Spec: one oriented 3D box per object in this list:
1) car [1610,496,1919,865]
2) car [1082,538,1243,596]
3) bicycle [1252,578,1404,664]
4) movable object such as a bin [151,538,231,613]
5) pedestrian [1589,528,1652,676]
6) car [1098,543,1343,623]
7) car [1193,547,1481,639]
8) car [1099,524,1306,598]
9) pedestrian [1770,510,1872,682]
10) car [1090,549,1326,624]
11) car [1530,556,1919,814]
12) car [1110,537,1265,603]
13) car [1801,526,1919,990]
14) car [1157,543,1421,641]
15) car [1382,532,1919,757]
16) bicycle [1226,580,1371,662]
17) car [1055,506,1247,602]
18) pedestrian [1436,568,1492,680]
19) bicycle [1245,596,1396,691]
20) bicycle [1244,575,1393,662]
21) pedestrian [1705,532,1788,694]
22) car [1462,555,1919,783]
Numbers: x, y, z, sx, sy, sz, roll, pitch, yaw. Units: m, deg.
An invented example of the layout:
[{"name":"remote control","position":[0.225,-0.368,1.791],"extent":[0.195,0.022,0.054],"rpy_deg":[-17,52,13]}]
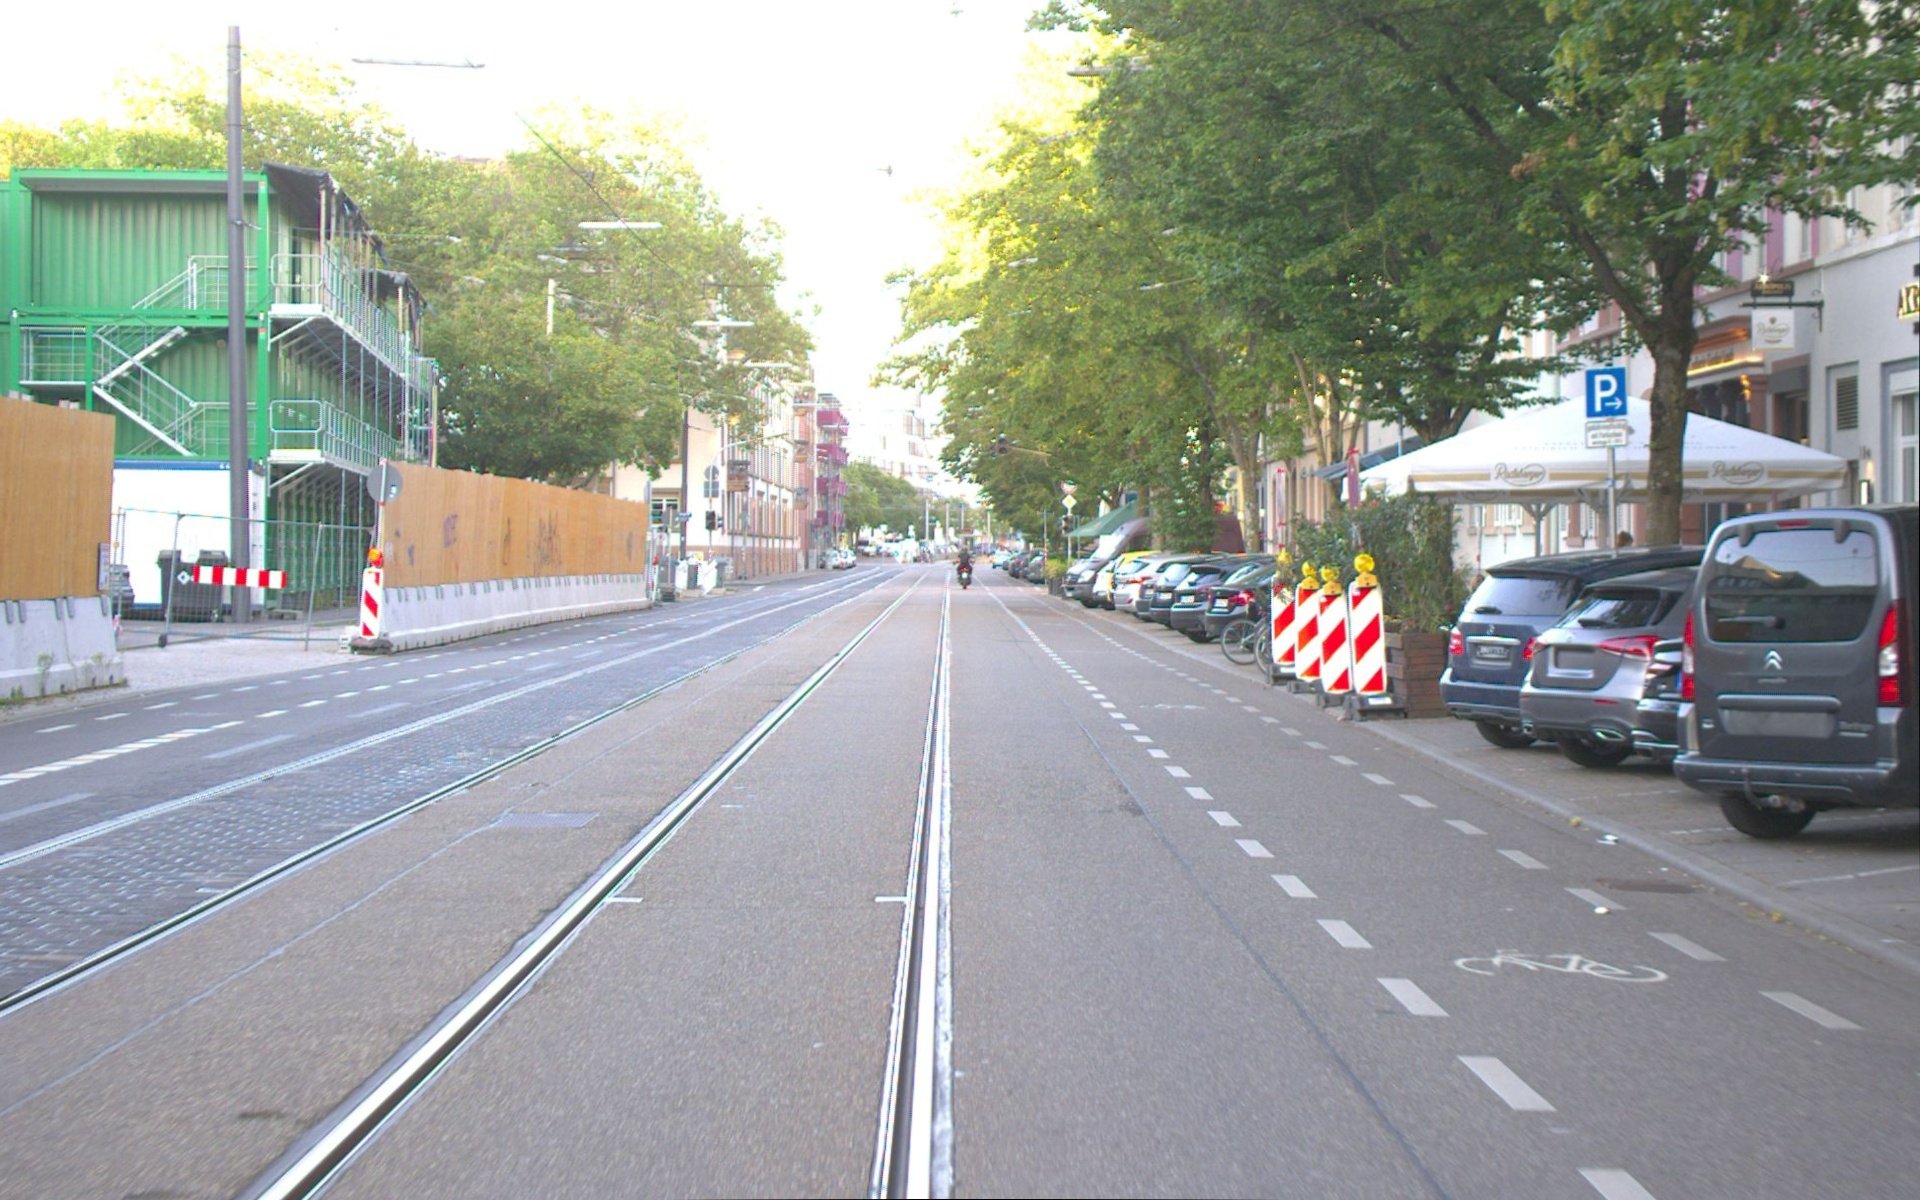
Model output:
[{"name":"car","position":[5.842,0.327,18.703],"extent":[4.147,1.800,2.008],"rpy_deg":[-2,1,-28]},{"name":"car","position":[5.582,-0.919,94.692],"extent":[3.949,1.481,1.921],"rpy_deg":[-2,0,-24]},{"name":"bicycle","position":[4.843,0.273,45.319],"extent":[1.886,1.028,0.608],"rpy_deg":[-3,1,-1]},{"name":"movable object such as a bin","position":[-14.138,-0.458,63.221],"extent":[1.306,1.365,0.784],"rpy_deg":[0,1,-3]},{"name":"pedestrian","position":[7.940,0.017,41.370],"extent":[0.551,1.757,0.894],"rpy_deg":[1,1,0]},{"name":"car","position":[4.904,-0.321,64.762],"extent":[4.115,1.465,2.016],"rpy_deg":[0,1,-24]},{"name":"car","position":[5.980,-0.115,54.667],"extent":[4.160,1.421,1.824],"rpy_deg":[0,1,-19]},{"name":"car","position":[5.440,-0.874,77.387],"extent":[4.249,1.543,2.020],"rpy_deg":[-1,1,-10]},{"name":"pedestrian","position":[8.913,-0.045,35.588],"extent":[0.702,1.757,0.715],"rpy_deg":[1,1,-27]},{"name":"car","position":[4.975,-0.272,69.107],"extent":[4.249,1.387,2.016],"rpy_deg":[-2,1,-23]},{"name":"car","position":[5.931,0.448,21.658],"extent":[4.309,1.384,1.807],"rpy_deg":[-3,1,-25]},{"name":"car","position":[5.988,-0.793,90.857],"extent":[3.950,1.614,1.921],"rpy_deg":[-1,0,1]},{"name":"car","position":[5.783,0.487,12.903],"extent":[4.648,1.682,2.008],"rpy_deg":[-2,1,-5]},{"name":"car","position":[5.710,-0.154,59.772],"extent":[4.115,1.465,1.824],"rpy_deg":[-3,1,-17]},{"name":"car","position":[5.438,0.305,26.656],"extent":[3.960,1.548,1.706],"rpy_deg":[-2,1,-25]},{"name":"bicycle","position":[4.698,0.286,47.792],"extent":[1.903,1.028,0.533],"rpy_deg":[-3,1,-2]},{"name":"car","position":[5.508,-1.332,99.410],"extent":[5.093,2.633,2.022],"rpy_deg":[-2,0,-16]},{"name":"pedestrian","position":[5.874,0.278,40.091],"extent":[0.502,1.288,0.600],"rpy_deg":[1,1,-5]},{"name":"bicycle","position":[4.299,0.517,41.056],"extent":[1.678,1.028,0.557],"rpy_deg":[-3,1,-1]},{"name":"bicycle","position":[4.860,0.248,46.692],"extent":[1.886,1.064,0.674],"rpy_deg":[-3,1,-2]},{"name":"pedestrian","position":[8.656,0.134,37.841],"extent":[0.550,1.757,0.853],"rpy_deg":[1,1,-12]},{"name":"car","position":[5.608,0.433,24.149],"extent":[3.772,1.403,1.706],"rpy_deg":[-2,1,-25]}]
